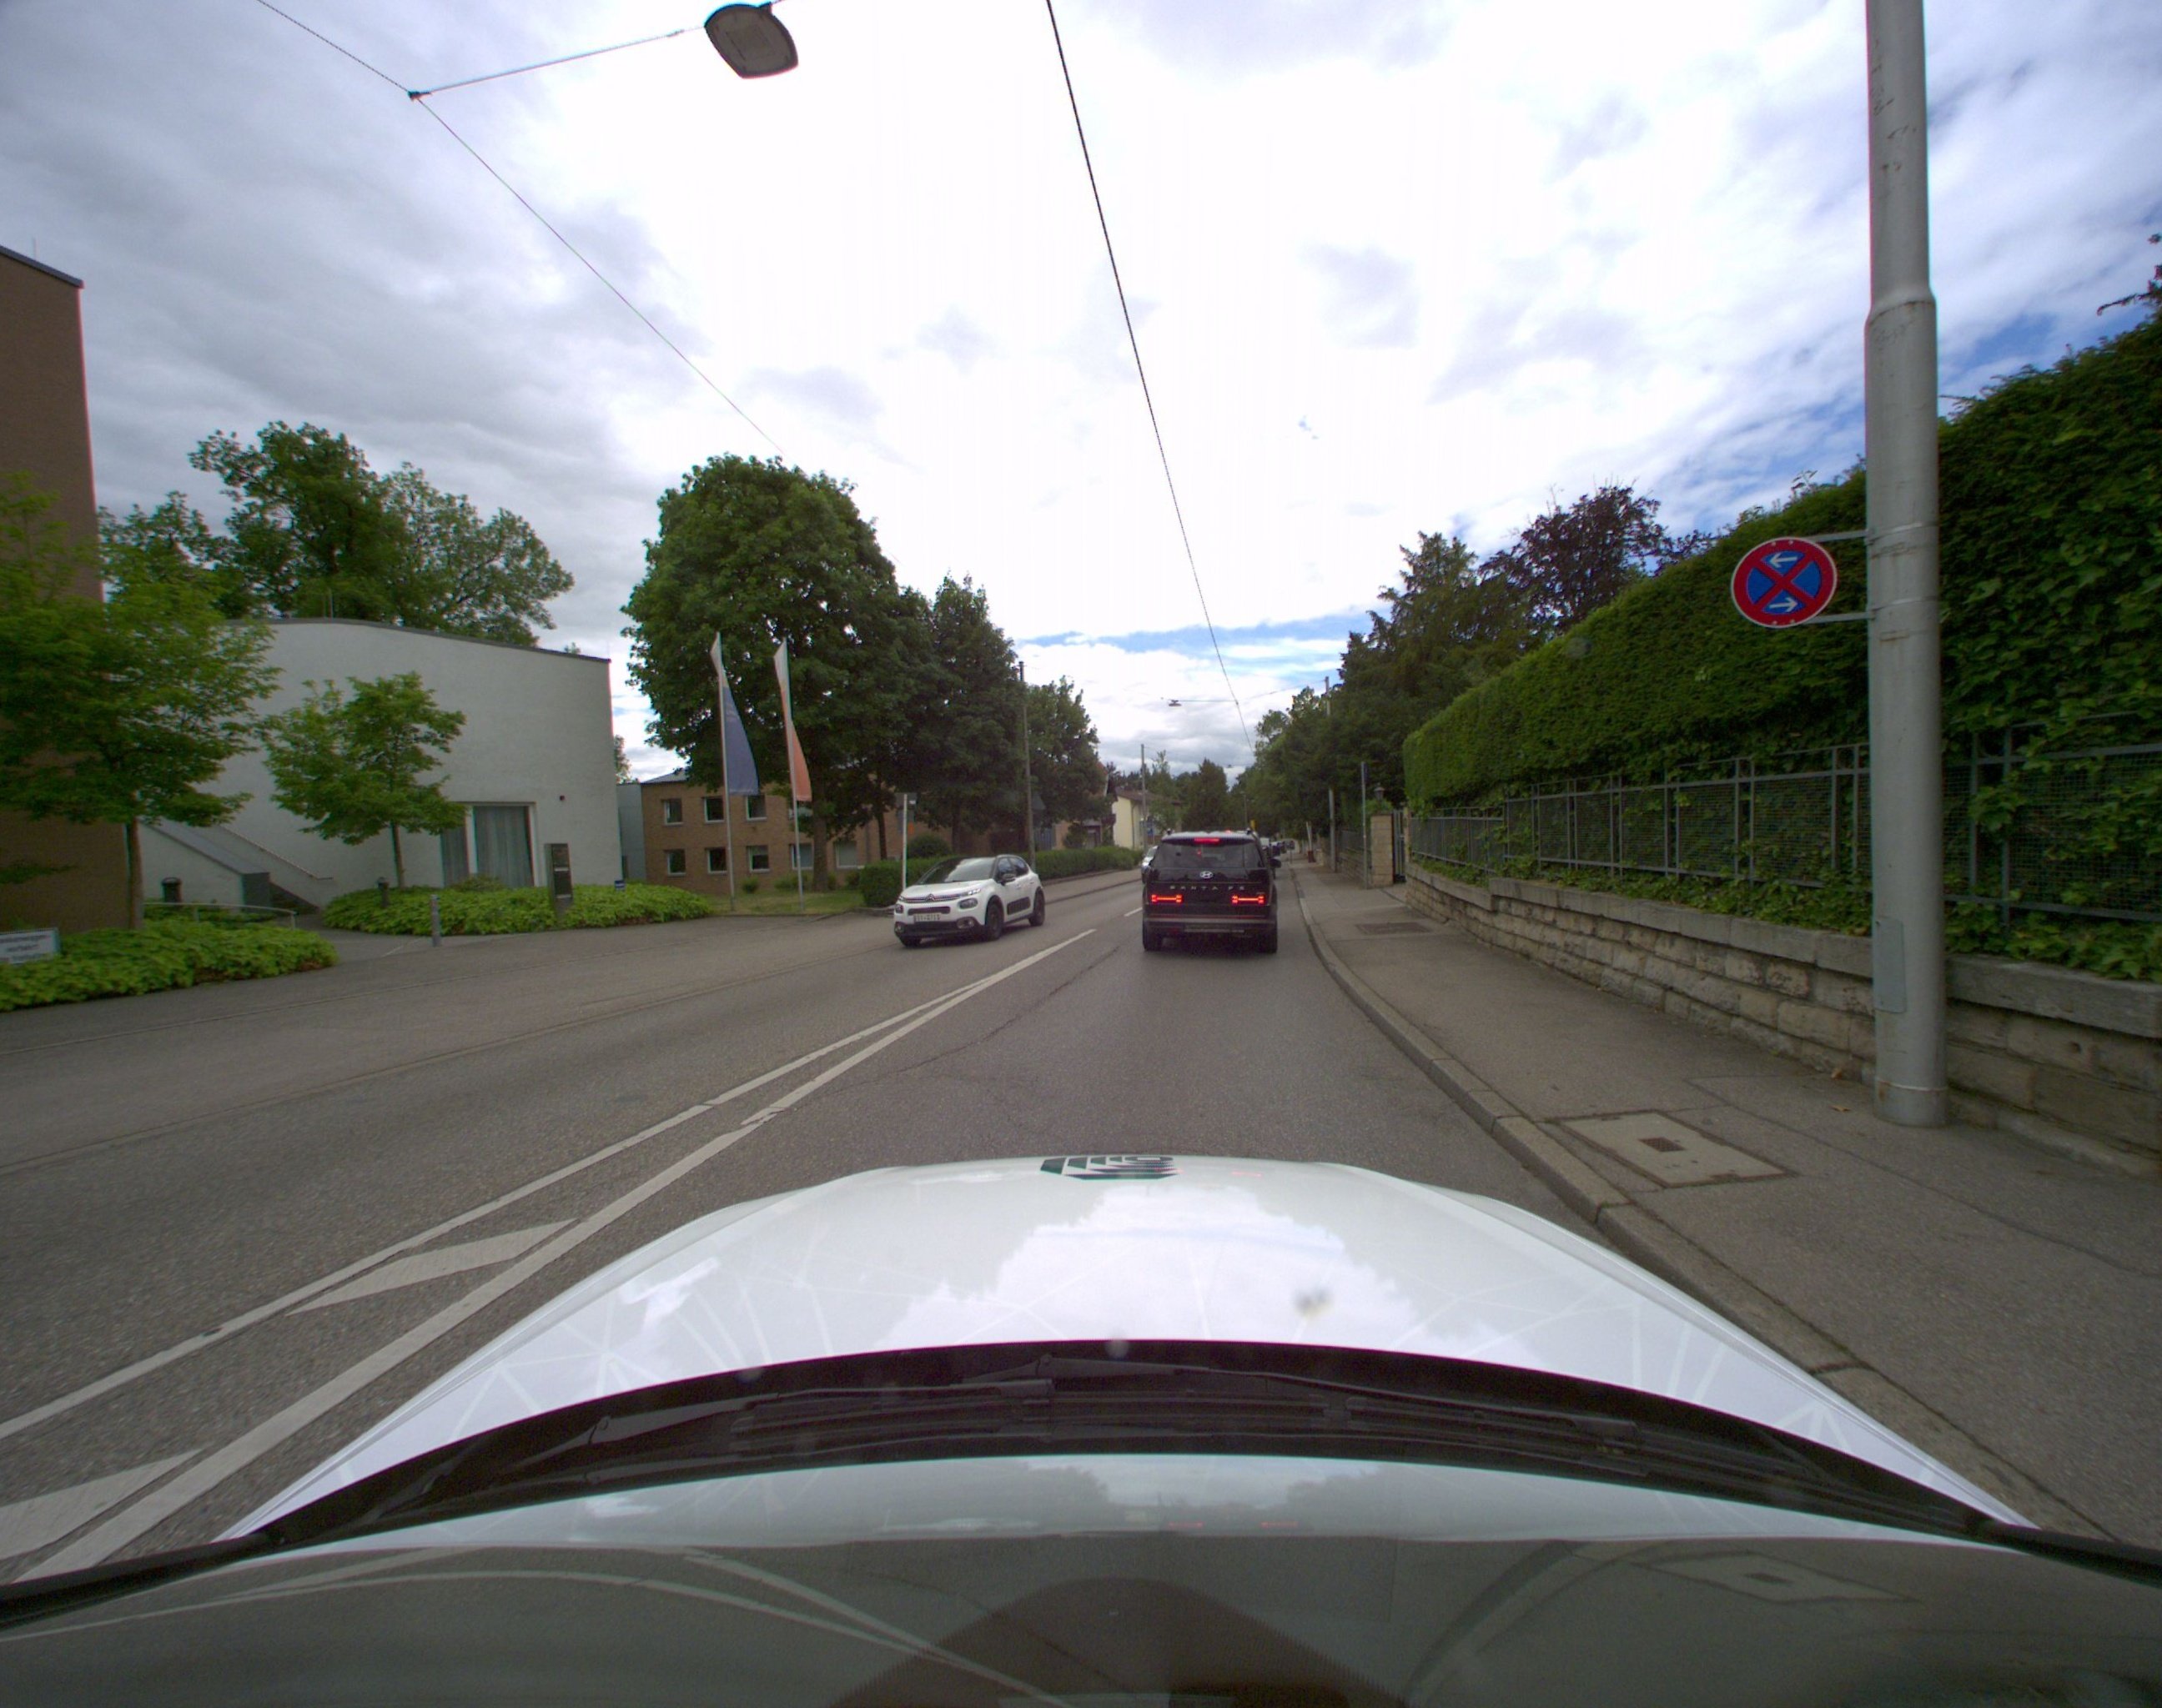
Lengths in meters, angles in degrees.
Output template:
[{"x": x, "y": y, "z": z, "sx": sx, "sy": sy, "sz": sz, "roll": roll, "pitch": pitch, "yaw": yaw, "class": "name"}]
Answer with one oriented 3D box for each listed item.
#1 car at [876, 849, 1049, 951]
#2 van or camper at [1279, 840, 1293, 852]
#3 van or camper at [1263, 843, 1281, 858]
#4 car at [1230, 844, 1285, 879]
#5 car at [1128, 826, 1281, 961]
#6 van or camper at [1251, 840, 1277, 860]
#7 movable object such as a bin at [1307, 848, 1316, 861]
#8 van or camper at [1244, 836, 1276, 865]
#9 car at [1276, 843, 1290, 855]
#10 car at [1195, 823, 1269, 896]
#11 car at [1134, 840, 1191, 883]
[{"x": -1.994, "y": 0.734, "z": 14.854, "sx": 1.683, "sy": 1.439, "sz": 3.771, "roll": -6, "pitch": 0, "yaw": 14, "class": "car"}, {"x": 32.152, "y": -1.238, "z": 127.629, "sx": 1.979, "sy": 1.651, "sz": 4.016, "roll": -4, "pitch": 0, "yaw": 15, "class": "van or camper"}, {"x": 22.653, "y": -0.467, "z": 96.499, "sx": 1.979, "sy": 1.651, "sz": 4.016, "roll": -4, "pitch": 0, "yaw": 15, "class": "van or camper"}, {"x": 7.837, "y": 0.296, "z": 35.907, "sx": 1.978, "sy": 1.404, "sz": 4.018, "roll": -3, "pitch": 0, "yaw": 17, "class": "car"}, {"x": 2.090, "y": 0.453, "z": 12.648, "sx": 1.943, "sy": 1.712, "sz": 4.240, "roll": 0, "pitch": 1, "yaw": 14, "class": "car"}, {"x": 16.210, "y": -0.373, "z": 72.275, "sx": 1.982, "sy": 1.628, "sz": 4.011, "roll": -4, "pitch": 0, "yaw": 9, "class": "van or camper"}, {"x": 16.740, "y": 0.032, "z": 59.082, "sx": 0.441, "sy": 0.909, "sz": 0.396, "roll": -7, "pitch": 1, "yaw": 24, "class": "movable object such as a bin"}, {"x": 12.851, "y": -0.271, "z": 58.440, "sx": 1.979, "sy": 1.887, "sz": 4.016, "roll": -4, "pitch": 0, "yaw": 14, "class": "van or camper"}, {"x": 27.873, "y": -0.703, "z": 112.411, "sx": 1.632, "sy": 1.561, "sz": 3.666, "roll": -2, "pitch": -2, "yaw": 17, "class": "car"}, {"x": 4.522, "y": 0.119, "z": 24.014, "sx": 1.943, "sy": 1.955, "sz": 4.238, "roll": -1, "pitch": 1, "yaw": 13, "class": "car"}, {"x": 3.641, "y": 0.272, "z": 35.687, "sx": 1.756, "sy": 1.637, "sz": 4.318, "roll": -5, "pitch": 0, "yaw": 14, "class": "car"}]
